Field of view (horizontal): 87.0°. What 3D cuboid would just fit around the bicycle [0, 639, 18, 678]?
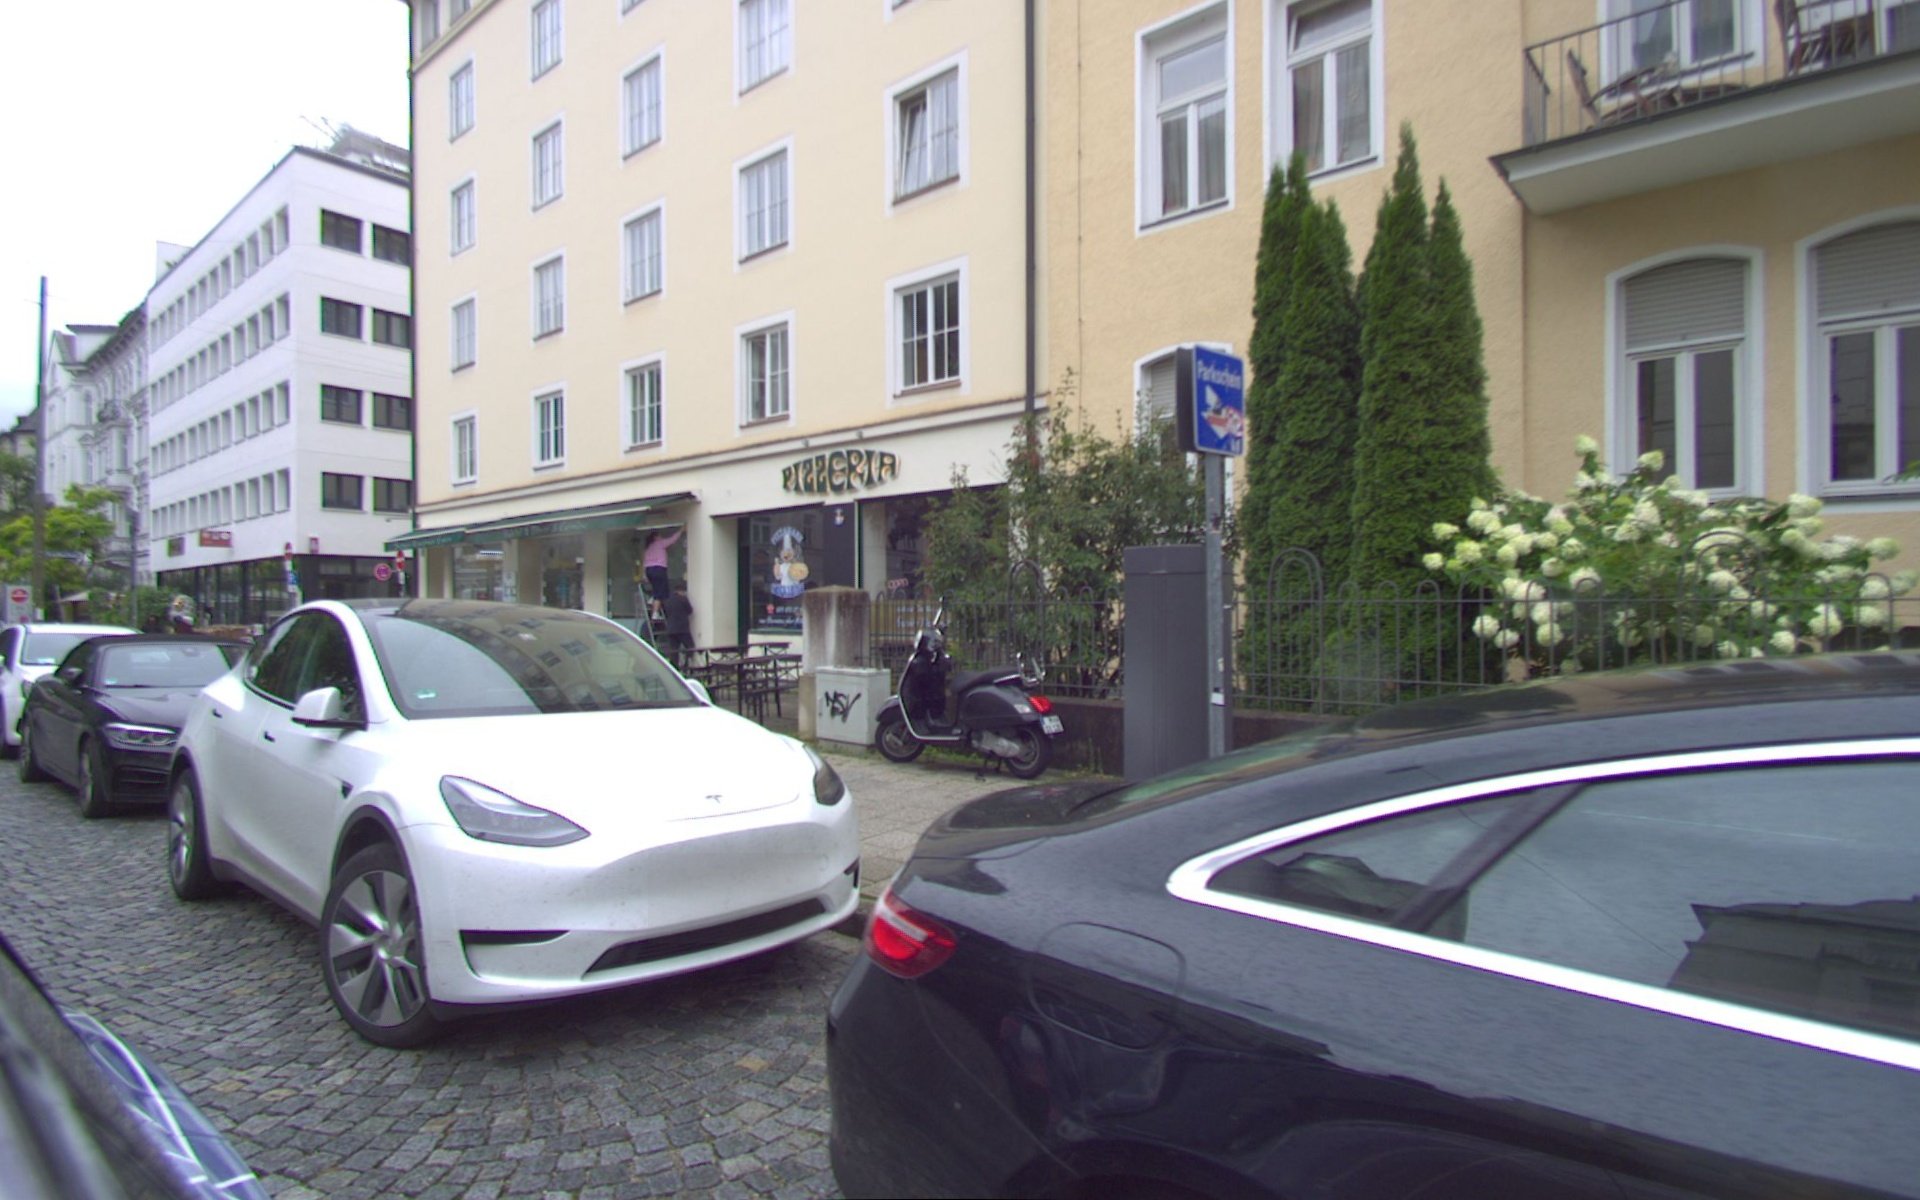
[{"bbox_3d":[-27.752,1.689,29.438,1.814,1.099,0.283,-1,-1,40],"label":"bicycle"}]

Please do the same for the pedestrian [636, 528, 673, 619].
[{"bbox_3d":[-5.667,-0.478,18.789,0.472,1.655,0.497,-1,0,-45],"label":"pedestrian"}]

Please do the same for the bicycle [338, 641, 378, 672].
[{"bbox_3d":[-19.647,1.833,33.005,1.890,0.975,0.394,-1,0,36],"label":"bicycle"}]

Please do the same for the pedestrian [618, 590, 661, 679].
[{"bbox_3d":[-6.087,0.641,19.242,0.629,1.655,0.516,-1,0,41],"label":"pedestrian"}]

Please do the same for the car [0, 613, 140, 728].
[{"bbox_3d":[-15.001,1.033,16.352,4.744,1.598,1.833,-1,0,40],"label":"car"}]

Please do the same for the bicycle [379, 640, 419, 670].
[{"bbox_3d":[-18.919,1.838,34.110,1.890,0.975,0.394,-1,0,36],"label":"bicycle"}]

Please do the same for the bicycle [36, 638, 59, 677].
[{"bbox_3d":[-27.053,1.696,29.994,1.814,1.099,0.283,-1,0,40],"label":"bicycle"}]

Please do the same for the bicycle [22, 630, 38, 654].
[{"bbox_3d":[-43.578,1.969,47.432,1.683,1.086,0.255,-2,-1,37],"label":"bicycle"}]

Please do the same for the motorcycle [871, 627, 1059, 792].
[{"bbox_3d":[0.012,0.831,8.222,1.578,1.203,0.486,-1,0,41],"label":"motorcycle"}]

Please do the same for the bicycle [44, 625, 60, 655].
[{"bbox_3d":[-38.181,1.669,42.541,1.911,1.183,0.356,-1,0,44],"label":"bicycle"}]

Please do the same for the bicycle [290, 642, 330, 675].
[{"bbox_3d":[-20.432,1.827,31.796,1.890,0.975,0.394,-1,0,36],"label":"bicycle"}]

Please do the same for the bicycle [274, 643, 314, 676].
[{"bbox_3d":[-20.691,1.832,31.416,1.890,0.975,0.394,-1,0,36],"label":"bicycle"}]

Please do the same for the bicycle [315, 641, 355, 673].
[{"bbox_3d":[-20.036,1.823,32.419,1.890,0.975,0.394,-1,0,36],"label":"bicycle"}]

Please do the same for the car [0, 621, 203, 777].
[{"bbox_3d":[-11.024,1.062,12.512,4.538,1.548,1.755,-1,0,41],"label":"car"}]

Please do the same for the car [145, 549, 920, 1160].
[{"bbox_3d":[-2.377,0.706,4.884,4.390,1.660,1.755,-1,0,42],"label":"car"}]

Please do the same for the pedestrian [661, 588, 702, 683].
[{"bbox_3d":[-5.061,0.630,18.390,0.574,1.703,0.457,-1,0,41],"label":"pedestrian"}]

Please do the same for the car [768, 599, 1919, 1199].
[{"bbox_3d":[1.880,0.719,1.034,4.389,1.440,1.755,-1,0,41],"label":"car"}]

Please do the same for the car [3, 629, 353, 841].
[{"bbox_3d":[-7.198,0.998,9.130,4.390,1.370,1.755,-1,0,42],"label":"car"}]

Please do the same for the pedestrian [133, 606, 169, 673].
[{"bbox_3d":[-22.980,1.105,28.746,0.812,1.854,0.608,-1,-1,35],"label":"pedestrian"}]
